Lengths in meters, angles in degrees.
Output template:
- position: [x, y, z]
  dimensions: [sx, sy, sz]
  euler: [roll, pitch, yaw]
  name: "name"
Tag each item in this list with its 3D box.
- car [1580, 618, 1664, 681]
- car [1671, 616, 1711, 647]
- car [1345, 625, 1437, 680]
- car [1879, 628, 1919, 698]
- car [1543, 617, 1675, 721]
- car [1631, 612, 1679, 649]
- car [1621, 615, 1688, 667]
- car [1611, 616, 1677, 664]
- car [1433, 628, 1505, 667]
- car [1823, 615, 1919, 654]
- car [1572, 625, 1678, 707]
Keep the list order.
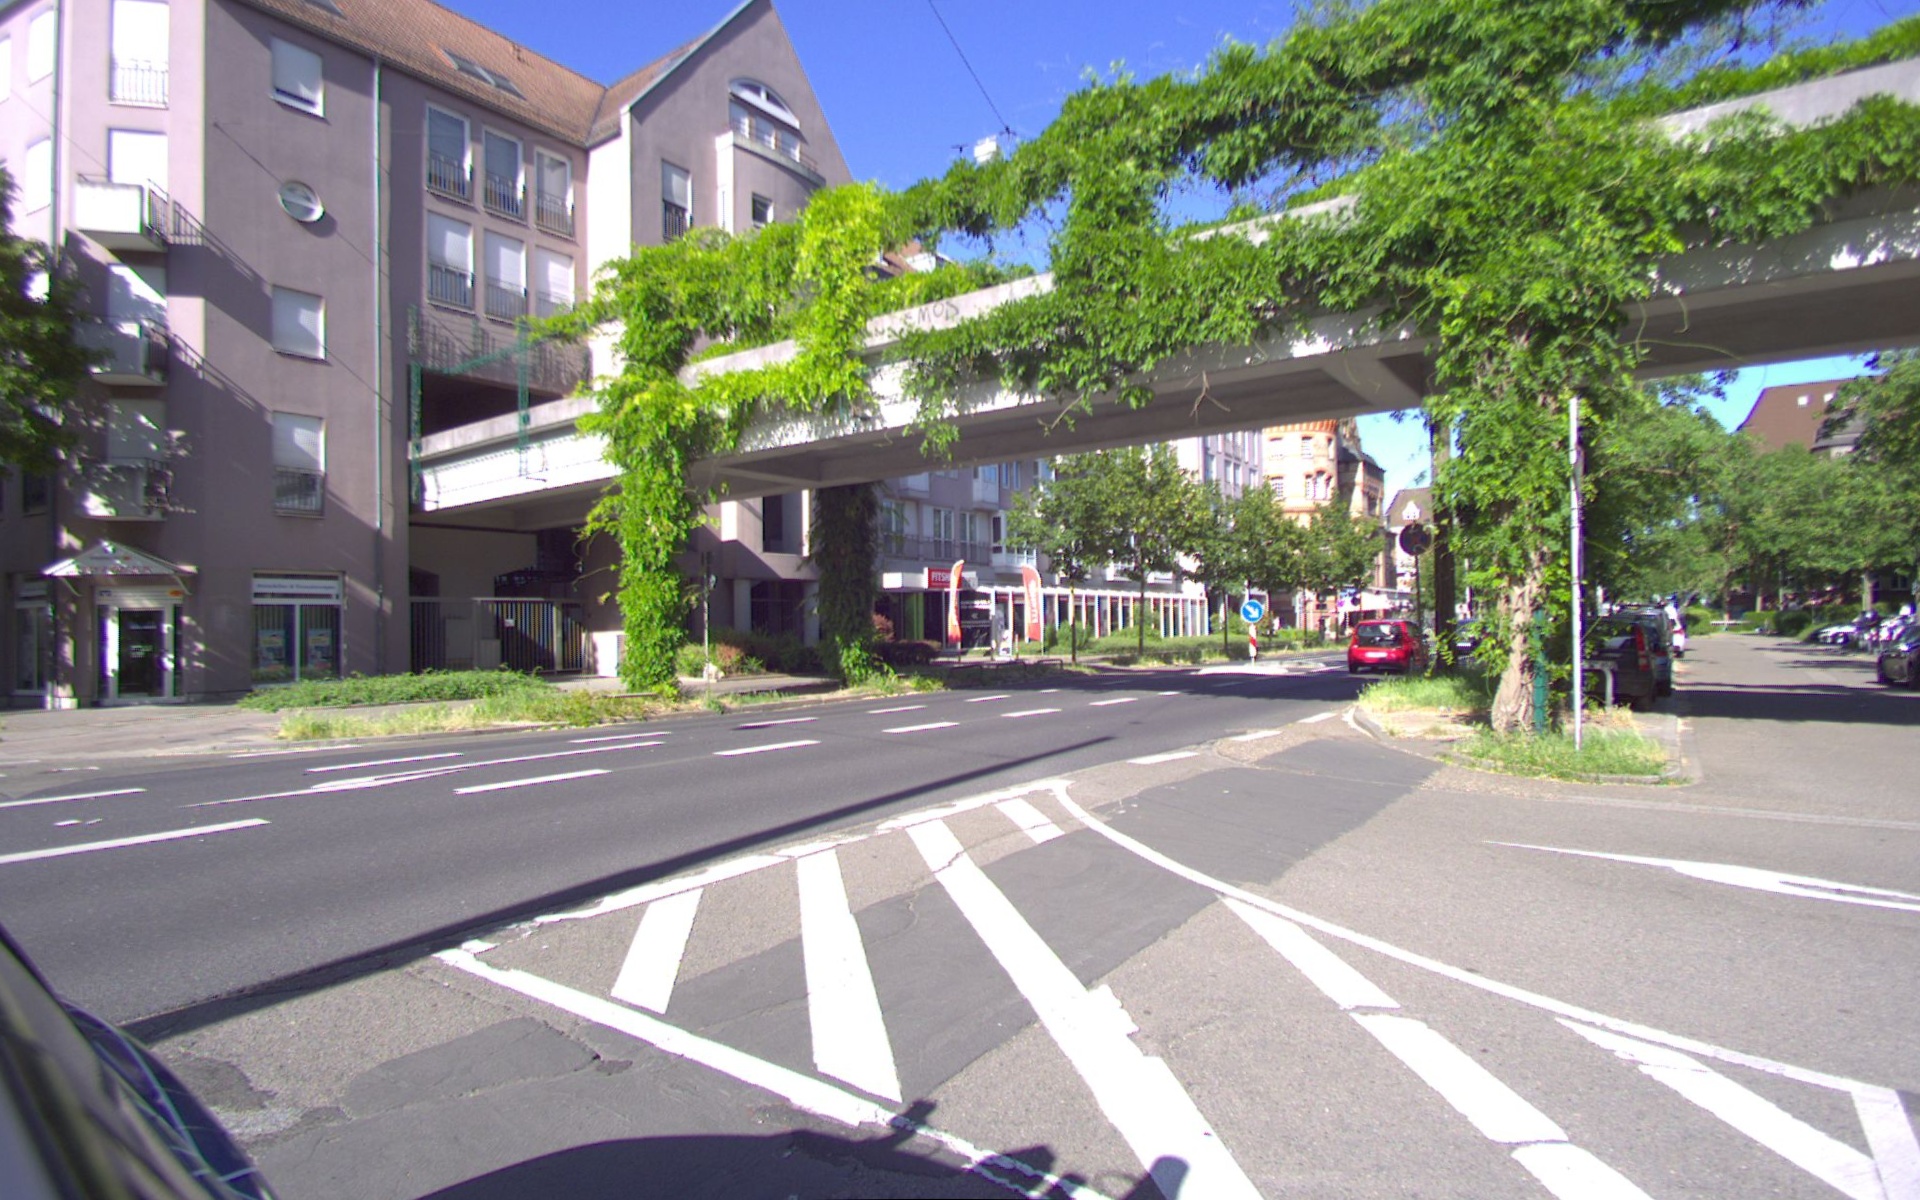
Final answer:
- position: [18.868, 1.365, 28.788]
  dimensions: [1.775, 1.659, 4.033]
  euler: [-2, -2, 36]
  name: "car"
- position: [48.556, 2.089, 67.205]
  dimensions: [1.996, 2.029, 4.242]
  euler: [-2, -2, 36]
  name: "car"
- position: [12.082, 1.425, 28.268]
  dimensions: [1.653, 1.439, 3.465]
  euler: [-2, -2, 35]
  name: "car"
- position: [21.121, 1.302, 21.513]
  dimensions: [1.681, 1.414, 3.759]
  euler: [-2, -2, 32]
  name: "car"
- position: [11.329, 1.101, 17.557]
  dimensions: [1.742, 1.550, 3.733]
  euler: [1, -1, 36]
  name: "car"
- position: [39.021, 1.714, 56.852]
  dimensions: [2.066, 1.923, 4.473]
  euler: [-2, -3, 34]
  name: "car"
- position: [27.115, 1.571, 39.585]
  dimensions: [1.995, 1.897, 4.189]
  euler: [-2, -2, 34]
  name: "car"
- position: [23.492, 1.357, 34.735]
  dimensions: [1.731, 1.561, 4.395]
  euler: [-3, -3, 35]
  name: "car"
- position: [20.791, 1.893, 41.244]
  dimensions: [1.868, 1.469, 4.536]
  euler: [-2, -2, 36]
  name: "car"
- position: [45.814, 1.720, 50.554]
  dimensions: [3.998, 1.727, 1.682]
  euler: [-6, -4, 41]
  name: "car"
- position: [13.814, 1.284, 21.019]
  dimensions: [1.654, 1.459, 4.232]
  euler: [2, 0, 34]
  name: "car"
